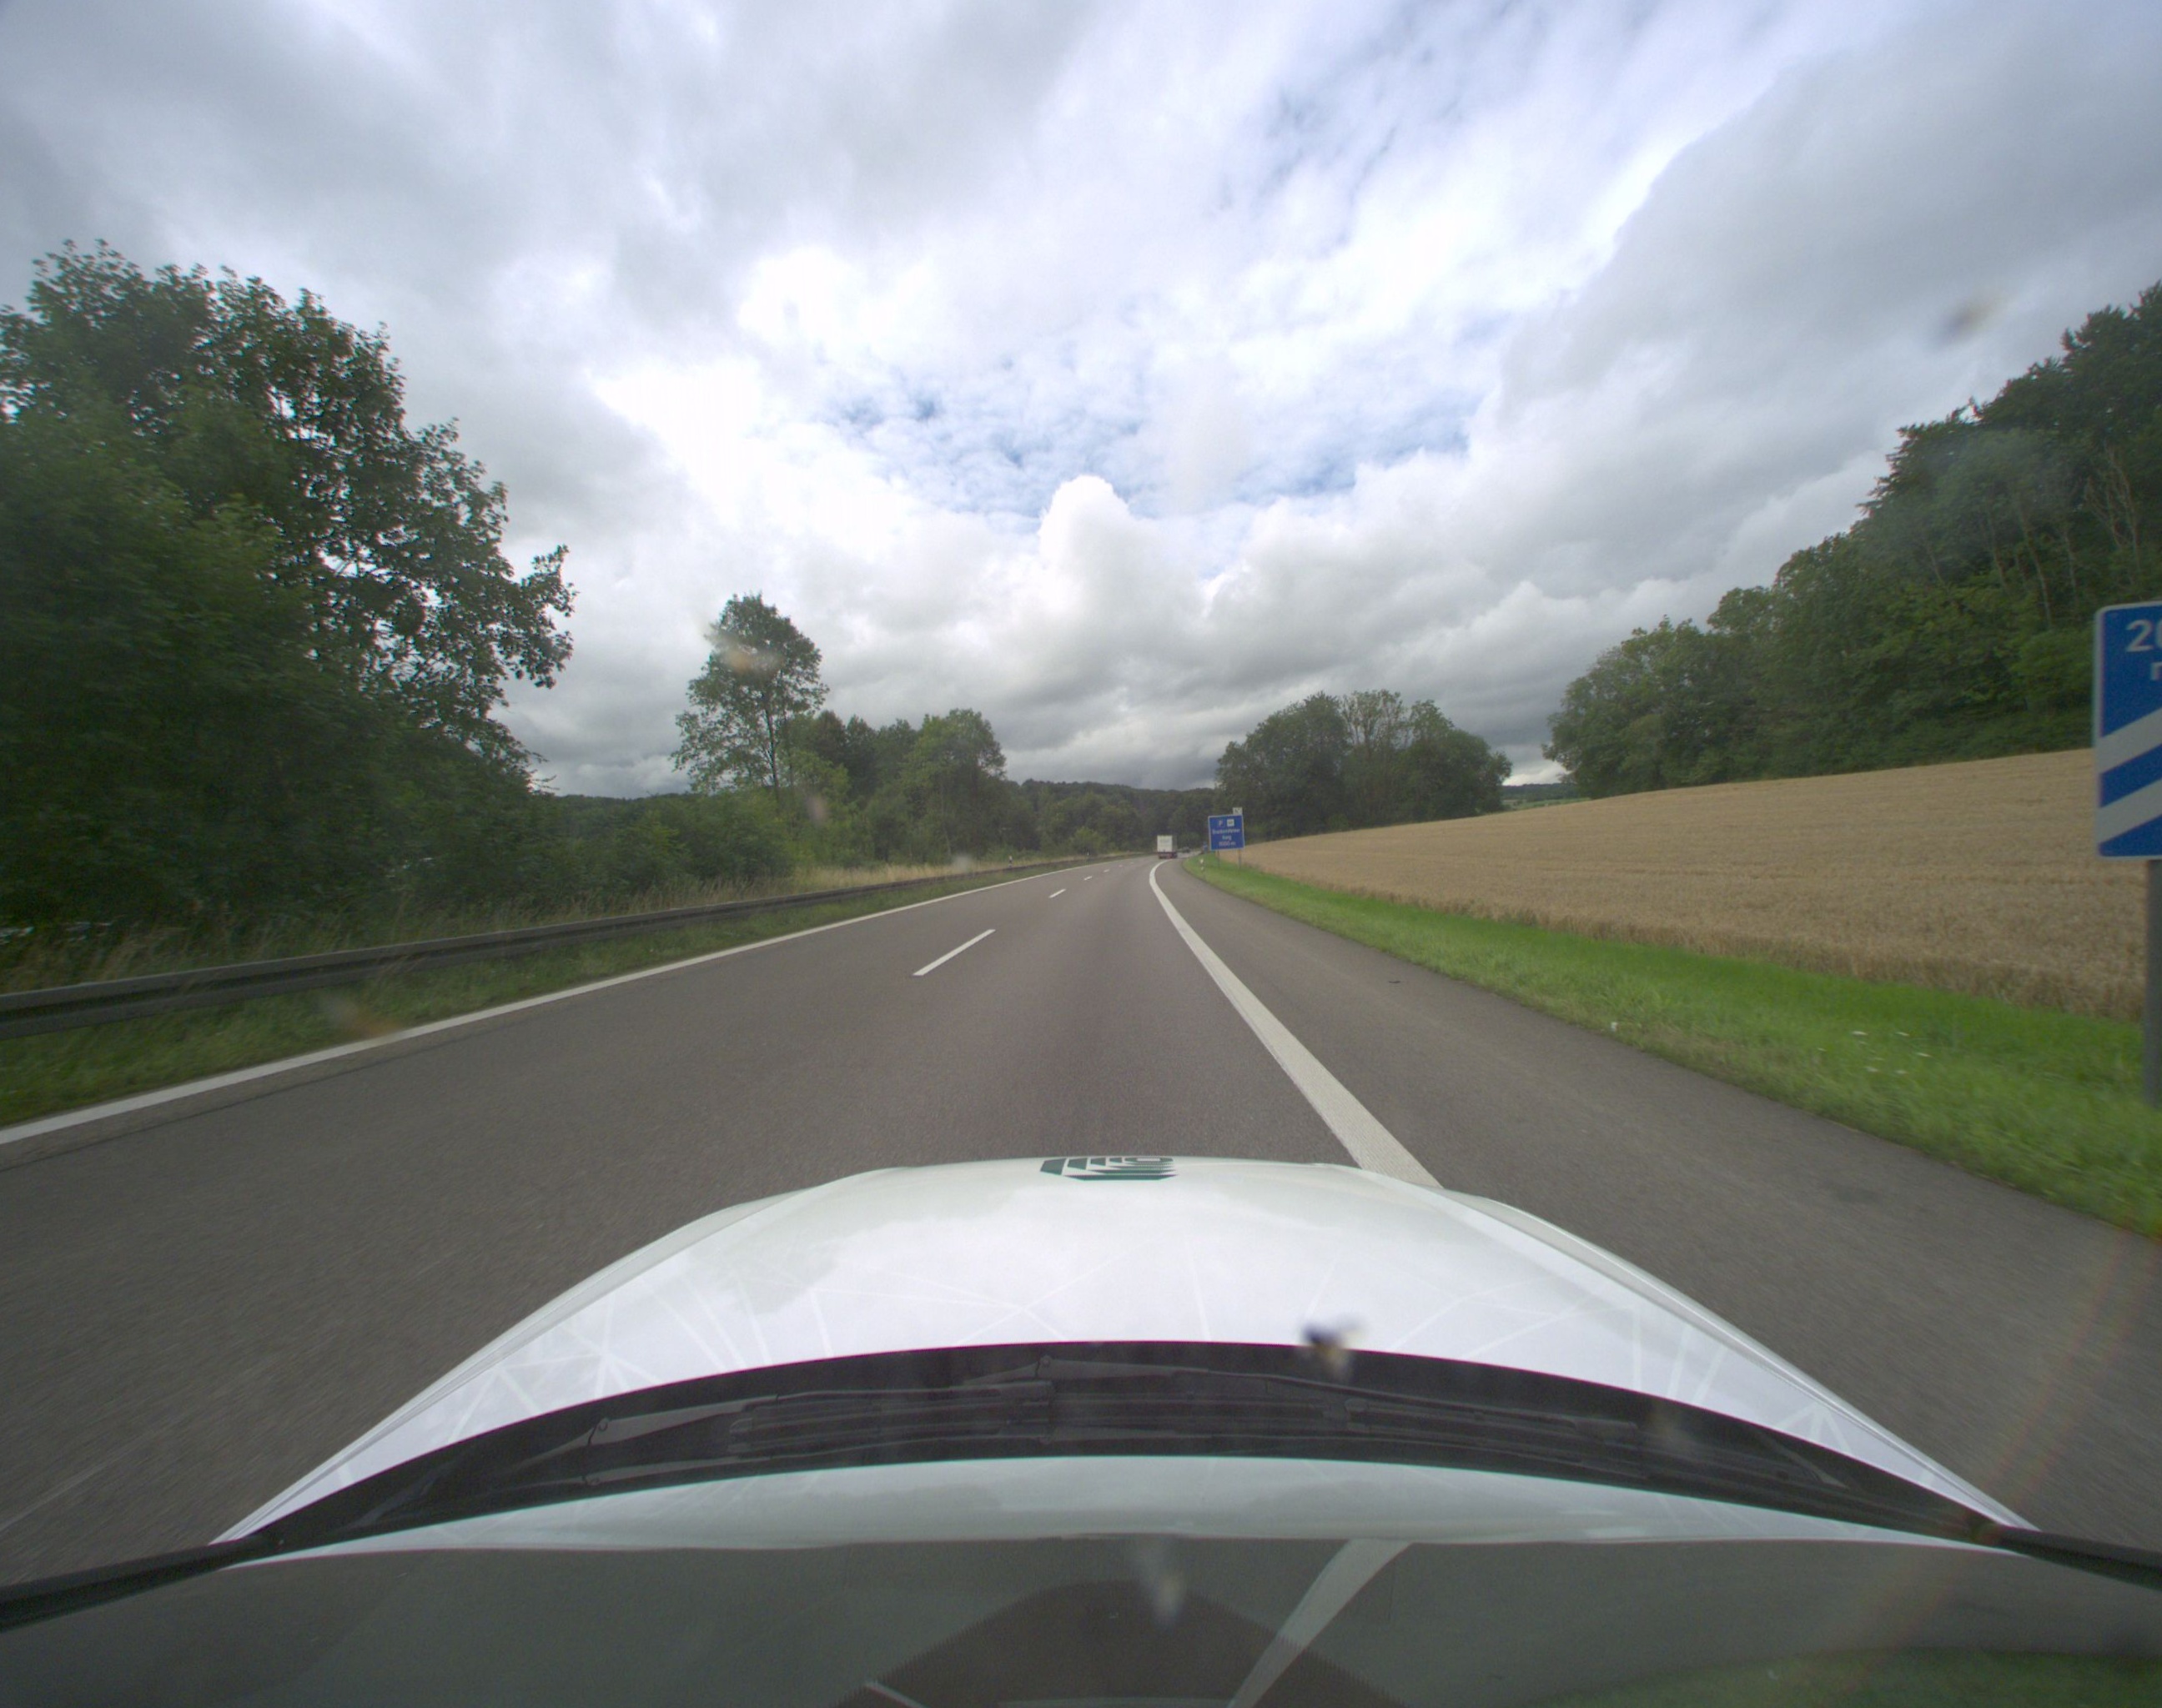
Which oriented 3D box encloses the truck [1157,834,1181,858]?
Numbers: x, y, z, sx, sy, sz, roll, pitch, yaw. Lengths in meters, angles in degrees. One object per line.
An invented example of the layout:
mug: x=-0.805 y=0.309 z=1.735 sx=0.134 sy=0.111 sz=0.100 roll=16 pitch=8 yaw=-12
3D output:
truck: x=16.184 y=-1.417 z=149.227 sx=3.765 sy=4.132 sz=8.285 roll=-1 pitch=-1 yaw=9

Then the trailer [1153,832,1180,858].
trailer: x=15.056 y=-1.460 z=142.394 sx=3.783 sy=4.174 sz=14.846 roll=-1 pitch=-1 yaw=9

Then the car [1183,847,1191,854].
car: x=28.918 y=-1.038 z=221.612 sx=1.891 sy=1.795 sz=4.011 roll=-1 pitch=-1 yaw=10

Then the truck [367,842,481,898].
truck: x=-40.254 y=0.925 z=50.172 sx=3.154 sy=3.220 sz=5.709 roll=-1 pitch=0 yaw=-12

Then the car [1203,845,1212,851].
car: x=32.450 y=-1.618 z=209.107 sx=1.981 sy=1.548 sz=4.013 roll=-2 pitch=0 yaw=11
